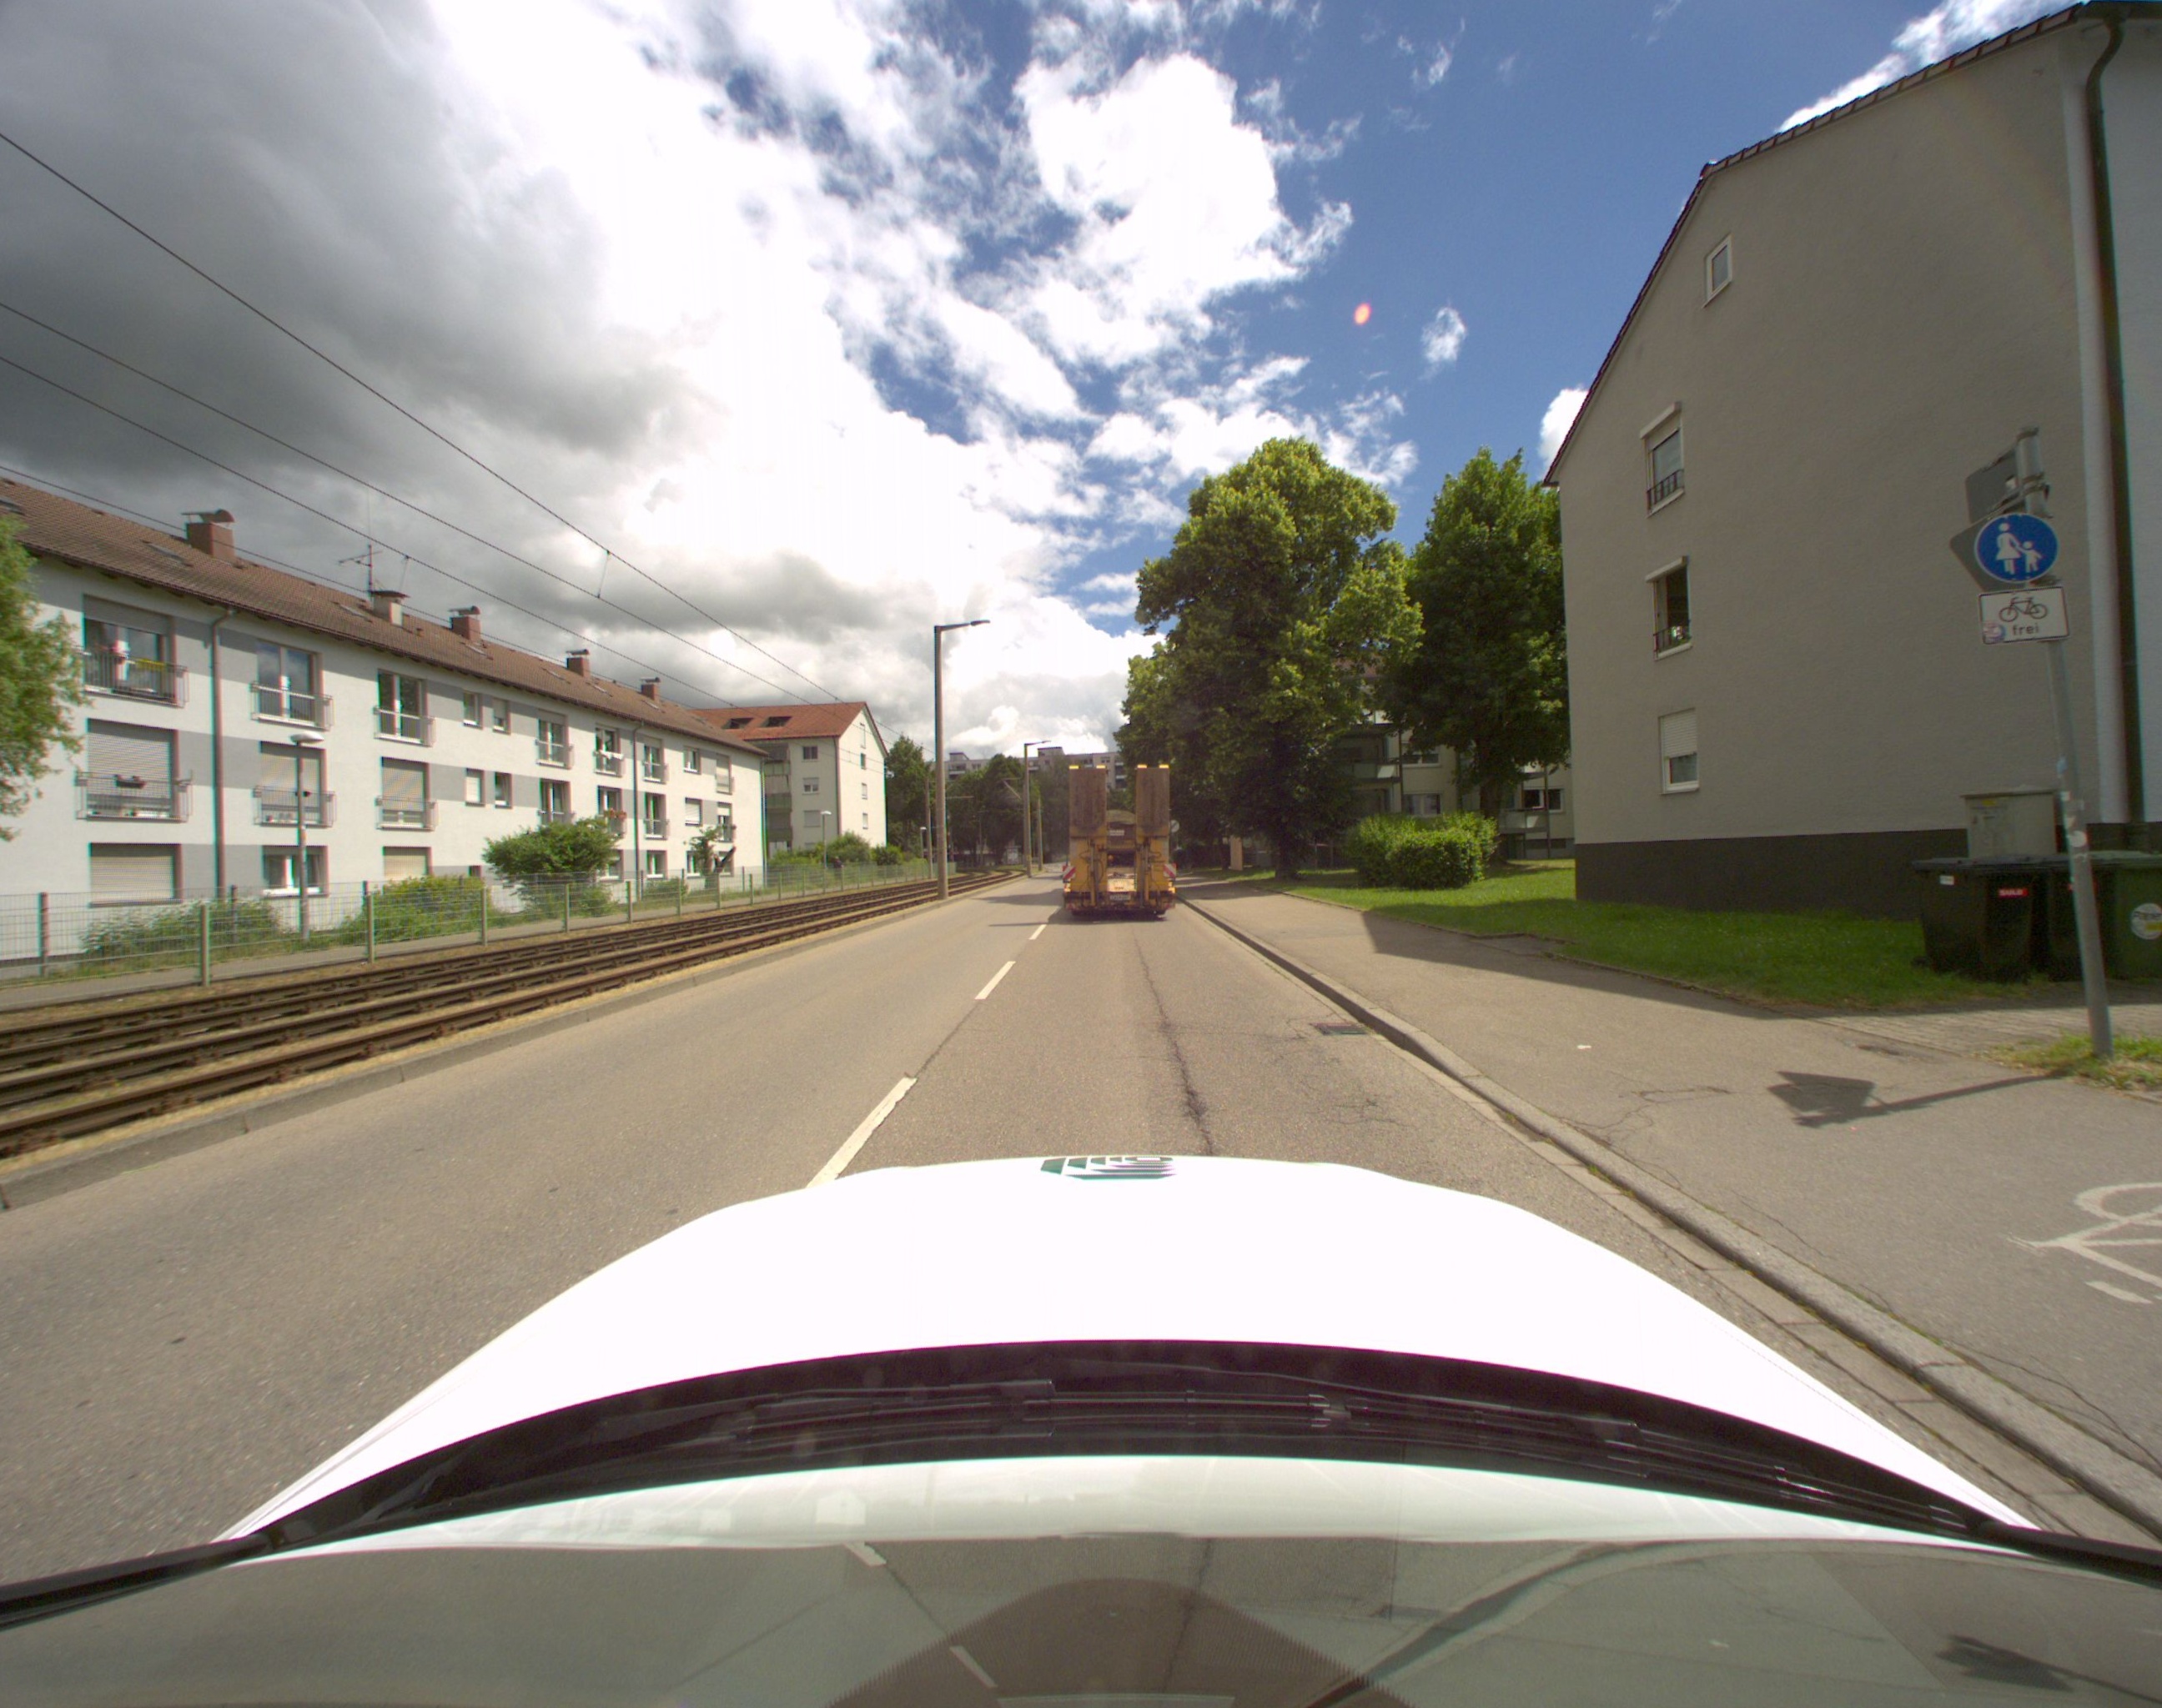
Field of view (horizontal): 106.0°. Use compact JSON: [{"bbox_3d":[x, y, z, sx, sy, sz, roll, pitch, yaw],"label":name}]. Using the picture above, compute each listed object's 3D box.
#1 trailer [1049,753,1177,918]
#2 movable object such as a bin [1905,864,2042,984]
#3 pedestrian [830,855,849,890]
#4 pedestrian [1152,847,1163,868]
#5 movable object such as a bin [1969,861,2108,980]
[{"bbox_3d":[0.821,-0.422,24.255,2.817,3.646,12.355,0,0,1],"label":"trailer"},{"bbox_3d":[7.630,0.579,6.984,0.494,0.955,0.580,-3,0,1],"label":"movable object such as a bin"},{"bbox_3d":[-12.847,0.973,43.271,0.656,1.848,0.769,-3,0,1],"label":"pedestrian"},{"bbox_3d":[6.147,0.283,65.437,0.715,1.706,0.766,-3,0,1],"label":"pedestrian"},{"bbox_3d":[8.195,0.552,6.989,0.498,0.947,0.551,-3,0,1],"label":"movable object such as a bin"}]
